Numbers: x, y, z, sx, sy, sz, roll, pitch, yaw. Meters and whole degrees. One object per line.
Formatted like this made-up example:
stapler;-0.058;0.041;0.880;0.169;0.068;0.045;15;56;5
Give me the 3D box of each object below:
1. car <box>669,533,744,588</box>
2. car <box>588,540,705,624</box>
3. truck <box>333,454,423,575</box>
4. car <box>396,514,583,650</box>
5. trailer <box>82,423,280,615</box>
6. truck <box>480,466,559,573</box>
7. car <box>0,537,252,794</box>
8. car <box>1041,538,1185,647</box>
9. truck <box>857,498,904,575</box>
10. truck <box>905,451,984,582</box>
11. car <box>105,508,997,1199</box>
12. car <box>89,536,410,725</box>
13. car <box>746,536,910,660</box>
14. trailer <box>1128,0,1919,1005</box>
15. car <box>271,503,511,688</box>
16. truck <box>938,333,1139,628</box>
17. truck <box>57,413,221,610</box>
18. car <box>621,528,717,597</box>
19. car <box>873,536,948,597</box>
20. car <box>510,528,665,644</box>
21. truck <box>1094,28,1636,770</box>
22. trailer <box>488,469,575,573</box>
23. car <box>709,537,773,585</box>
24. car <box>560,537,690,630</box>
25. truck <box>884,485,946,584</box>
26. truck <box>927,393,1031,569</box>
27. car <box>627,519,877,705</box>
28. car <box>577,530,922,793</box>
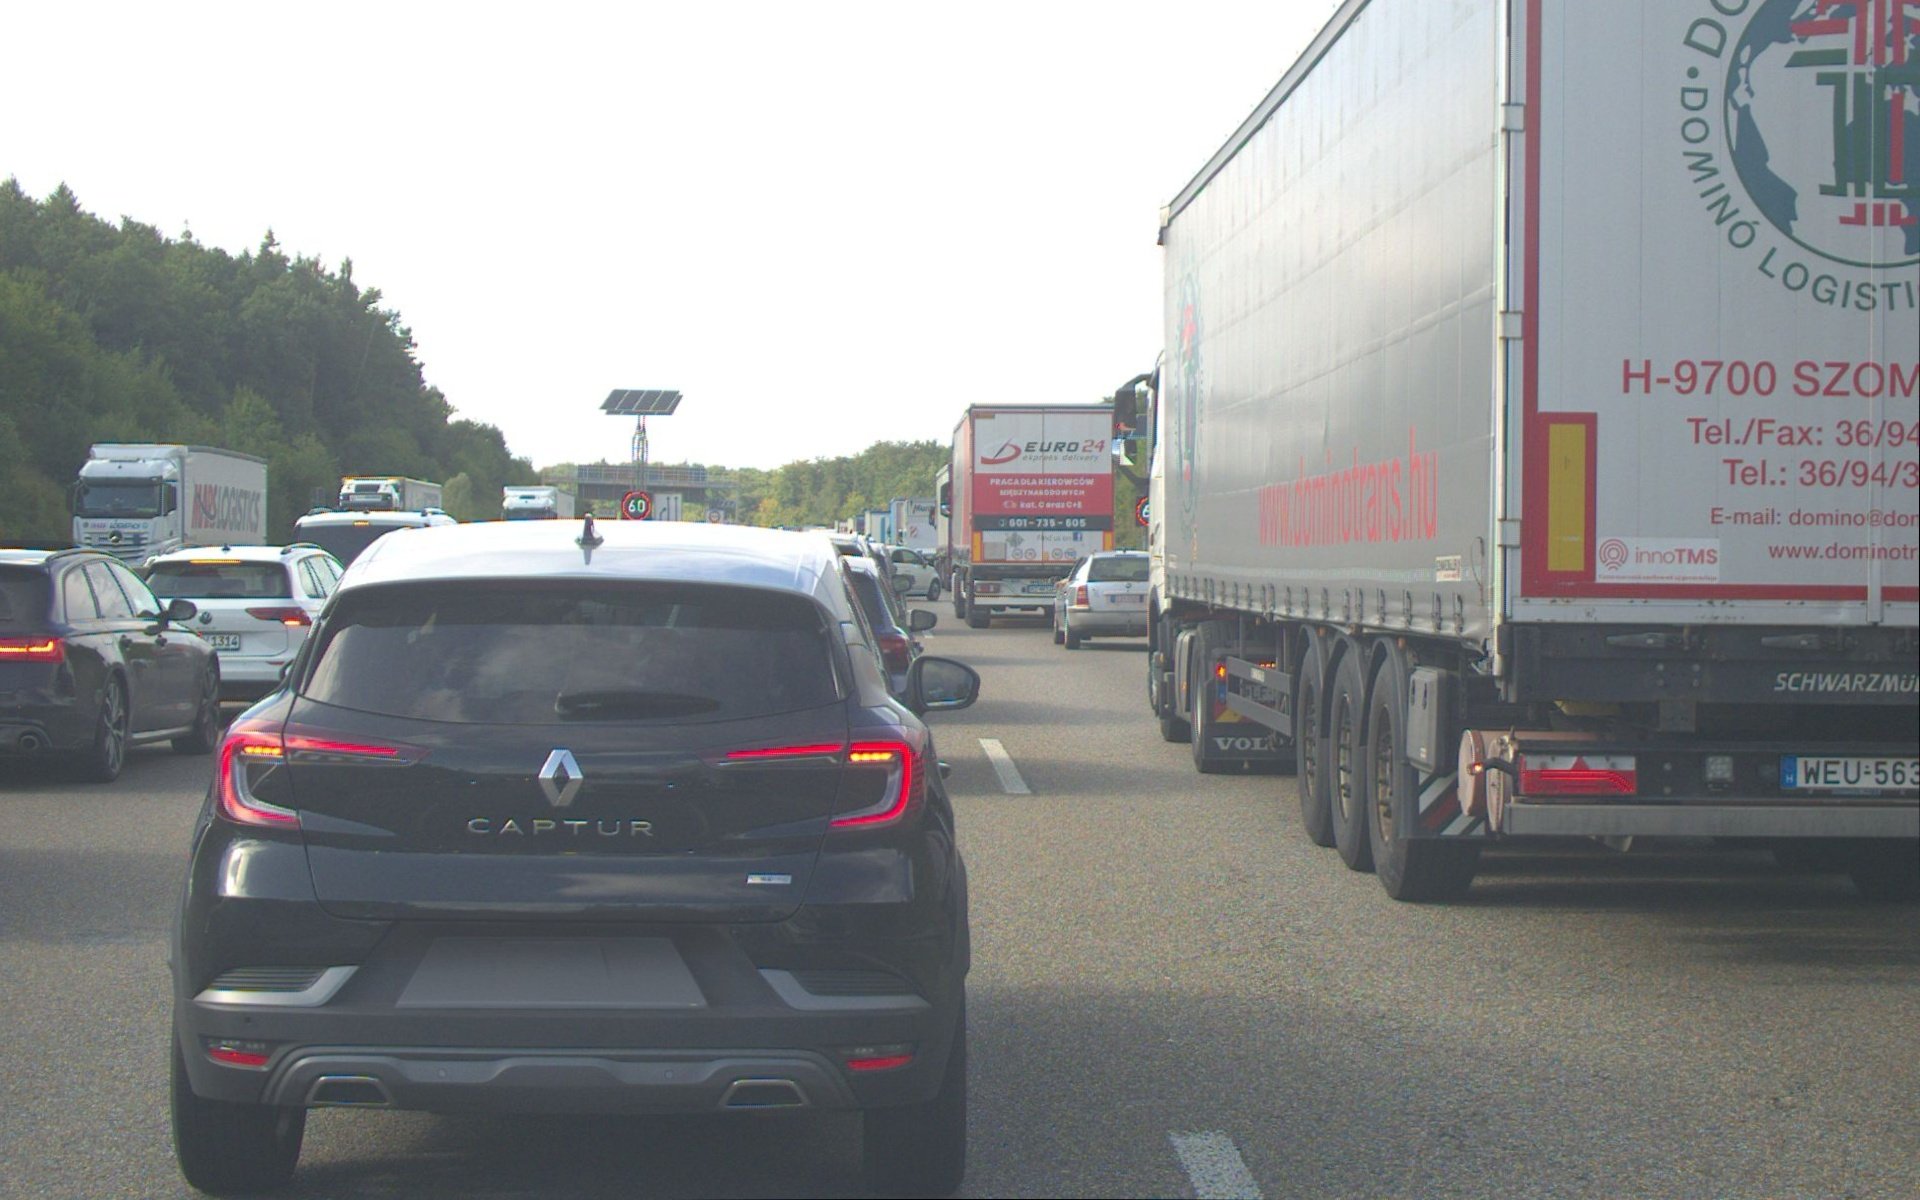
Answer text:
car;-7.609;-1.211;103.620;1.993;1.607;4.000;1;1;-1
car;-6.224;-0.367;68.576;1.993;1.607;4.000;1;0;-1
truck;-23.859;-3.456;141.152;2.931;4.842;4.766;1;0;-2
car;-5.979;-0.241;44.069;1.855;1.635;3.926;1;0;0
trailer;-23.013;-2.311;102.409;3.042;5.262;13.836;1;0;-2
truck;-21.534;-3.871;168.352;3.088;5.083;7.142;1;0;-2
car;-5.953;0.334;22.173;1.843;1.451;4.748;1;1;-1
car;2.232;-0.126;51.030;1.804;1.527;3.926;1;0;-2
truck;-5.874;-4.665;255.954;3.166;5.486;12.738;1;0;0
truck;-0.609;-3.594;152.211;3.166;5.486;12.737;1;0;1
car;-0.828;0.561;9.107;1.804;1.547;4.000;0;1;1
car;-5.881;0.213;28.926;1.804;1.456;4.308;1;1;0
car;-1.660;-0.042;44.553;1.993;1.509;4.000;1;0;-1
trailer;2.889;-1.177;17.404;3.002;4.645;13.291;1;1;-2
car;-5.863;-0.068;35.895;1.911;1.783;4.418;1;0;-2
truck;1.314;-2.121;65.742;3.365;5.027;12.738;1;0;0
truck;-22.819;-2.412;95.894;3.039;5.235;6.884;1;0;-2
car;-6.977;-0.918;82.690;1.993;1.607;4.000;1;1;-1
car;-1.350;-0.936;94.651;1.993;1.607;4.000;1;1;-1
car;-5.753;-0.226;53.528;1.993;1.716;4.000;1;0;-1
truck;2.675;-1.320;24.701;2.997;4.651;5.940;1;1;-2
trailer;-21.745;-3.937;175.131;3.088;5.056;13.836;1;0;-2
car;-7.516;-1.361;118.275;1.993;1.607;4.000;1;1;-1
car;-6.045;-0.309;62.373;1.993;1.607;4.000;1;0;-1
truck;-2.391;-3.498;186.374;3.166;5.142;12.738;1;0;0
truck;0.542;-3.798;114.238;3.166;5.486;12.738;1;0;0
car;-1.768;0.082;30.398;1.993;1.509;4.000;1;0;-1
car;-1.254;0.342;22.088;1.993;1.509;4.000;1;0;-1
